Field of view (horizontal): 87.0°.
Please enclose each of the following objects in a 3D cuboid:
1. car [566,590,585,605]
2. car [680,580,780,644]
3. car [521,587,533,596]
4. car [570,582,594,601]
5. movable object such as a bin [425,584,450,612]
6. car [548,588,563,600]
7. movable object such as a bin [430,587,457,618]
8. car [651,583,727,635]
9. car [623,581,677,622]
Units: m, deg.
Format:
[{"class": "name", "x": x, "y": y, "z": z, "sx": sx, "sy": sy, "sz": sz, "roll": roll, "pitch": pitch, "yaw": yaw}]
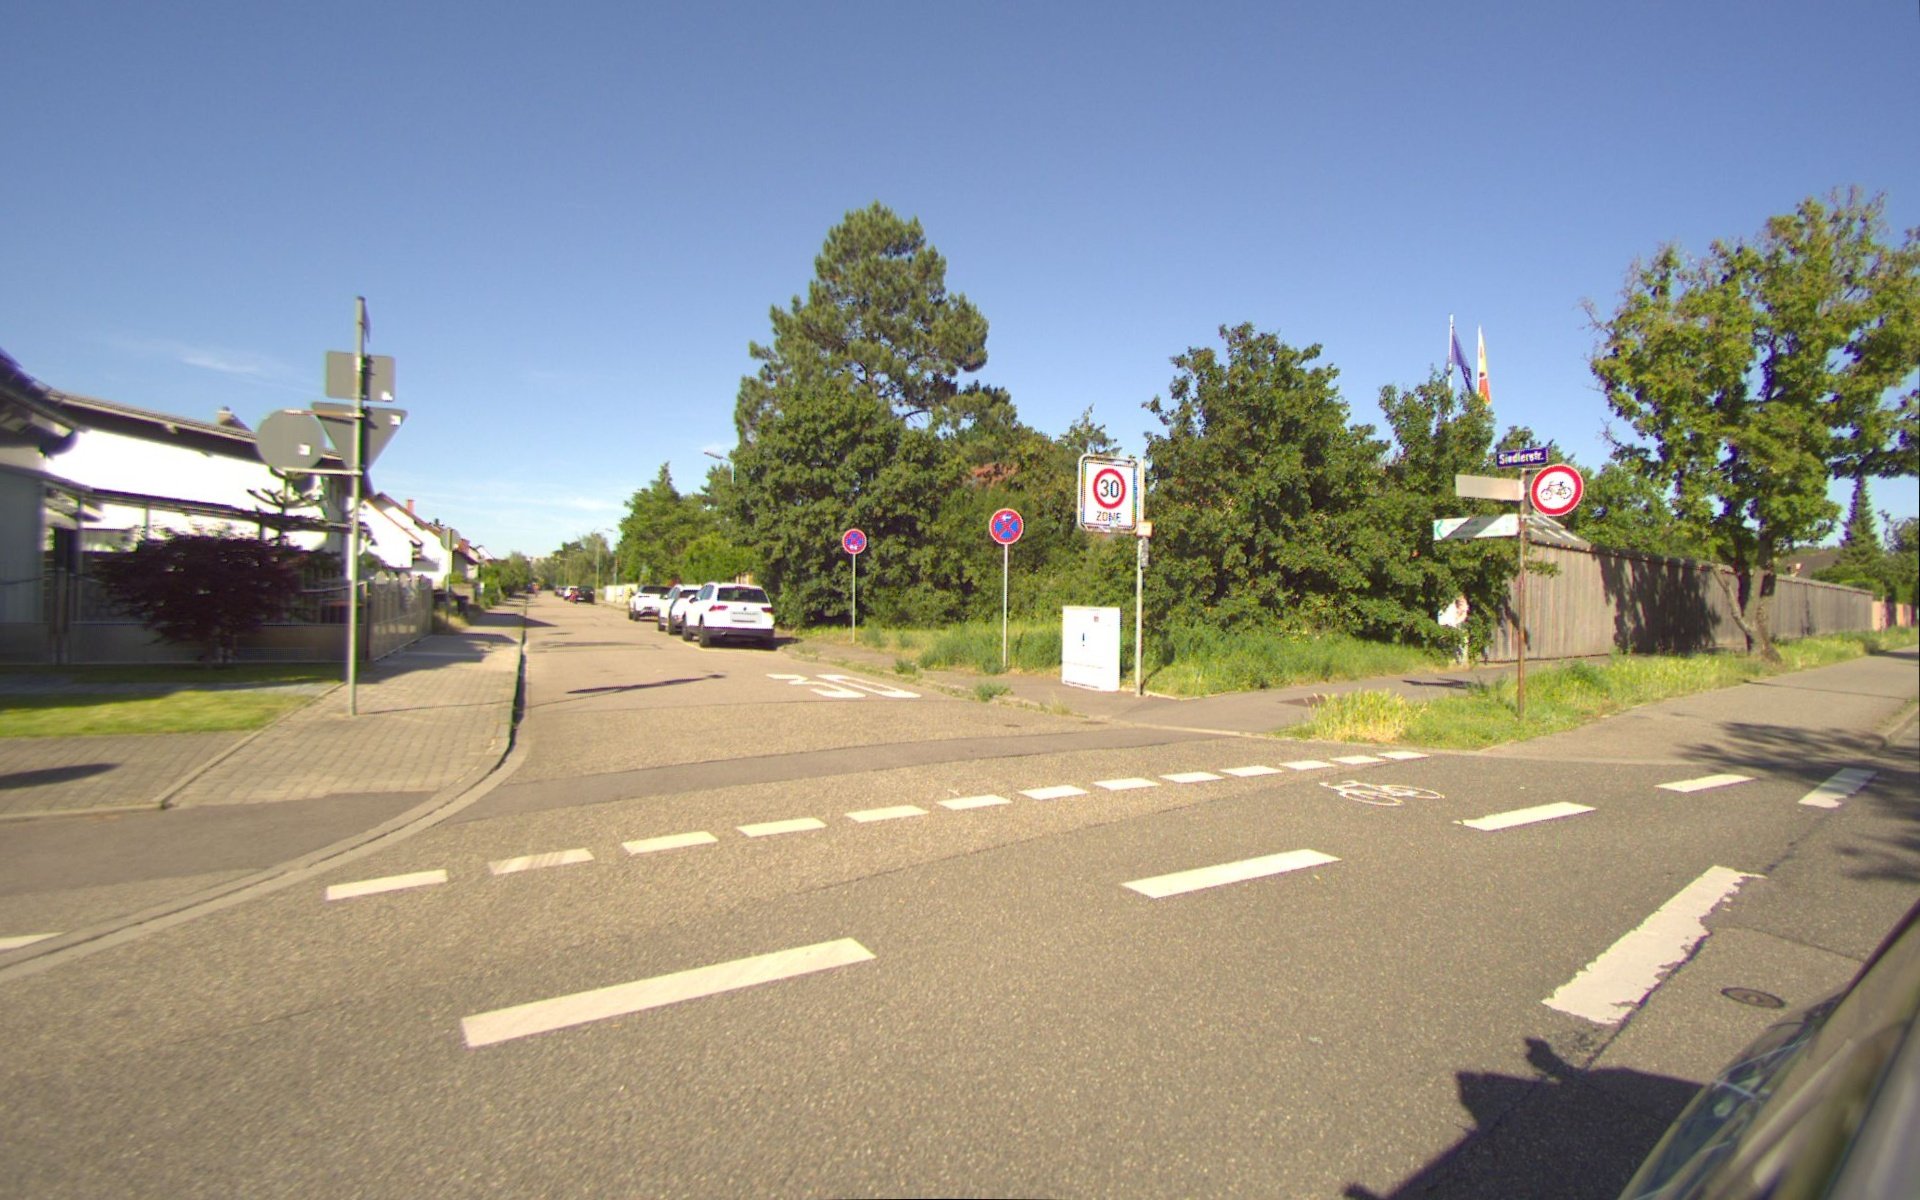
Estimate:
[{"class": "car", "x": -43.400, "y": -0.265, "z": 114.296, "sx": 1.872, "sy": 1.559, "sz": 3.939, "roll": 1, "pitch": -2, "yaw": -22}, {"class": "car", "x": -6.034, "y": 0.351, "z": 26.233, "sx": 1.805, "sy": 1.503, "sz": 3.931, "roll": 2, "pitch": -2, "yaw": -23}, {"class": "car", "x": -83.375, "y": -1.661, "z": 194.866, "sx": 1.872, "sy": 1.559, "sz": 3.939, "roll": 1, "pitch": -2, "yaw": -22}, {"class": "car", "x": -33.882, "y": -0.749, "z": 90.577, "sx": 1.872, "sy": 1.559, "sz": 3.939, "roll": 1, "pitch": -2, "yaw": -22}, {"class": "movable object such as a bin", "x": -19.862, "y": -0.075, "z": 38.466, "sx": 0.817, "sy": 1.047, "sz": 0.813, "roll": 0, "pitch": -2, "yaw": -30}, {"class": "car", "x": -59.187, "y": -0.882, "z": 148.049, "sx": 1.872, "sy": 1.559, "sz": 3.939, "roll": 1, "pitch": -2, "yaw": -22}, {"class": "movable object such as a bin", "x": -18.836, "y": 0.090, "z": 36.895, "sx": 0.817, "sy": 1.095, "sz": 0.928, "roll": 0, "pitch": -2, "yaw": -30}, {"class": "car", "x": -8.590, "y": 0.258, "z": 31.882, "sx": 1.745, "sy": 1.502, "sz": 3.758, "roll": 2, "pitch": 0, "yaw": -23}, {"class": "car", "x": -13.129, "y": 0.031, "z": 42.743, "sx": 1.745, "sy": 1.596, "sz": 3.758, "roll": 2, "pitch": 0, "yaw": -23}]
